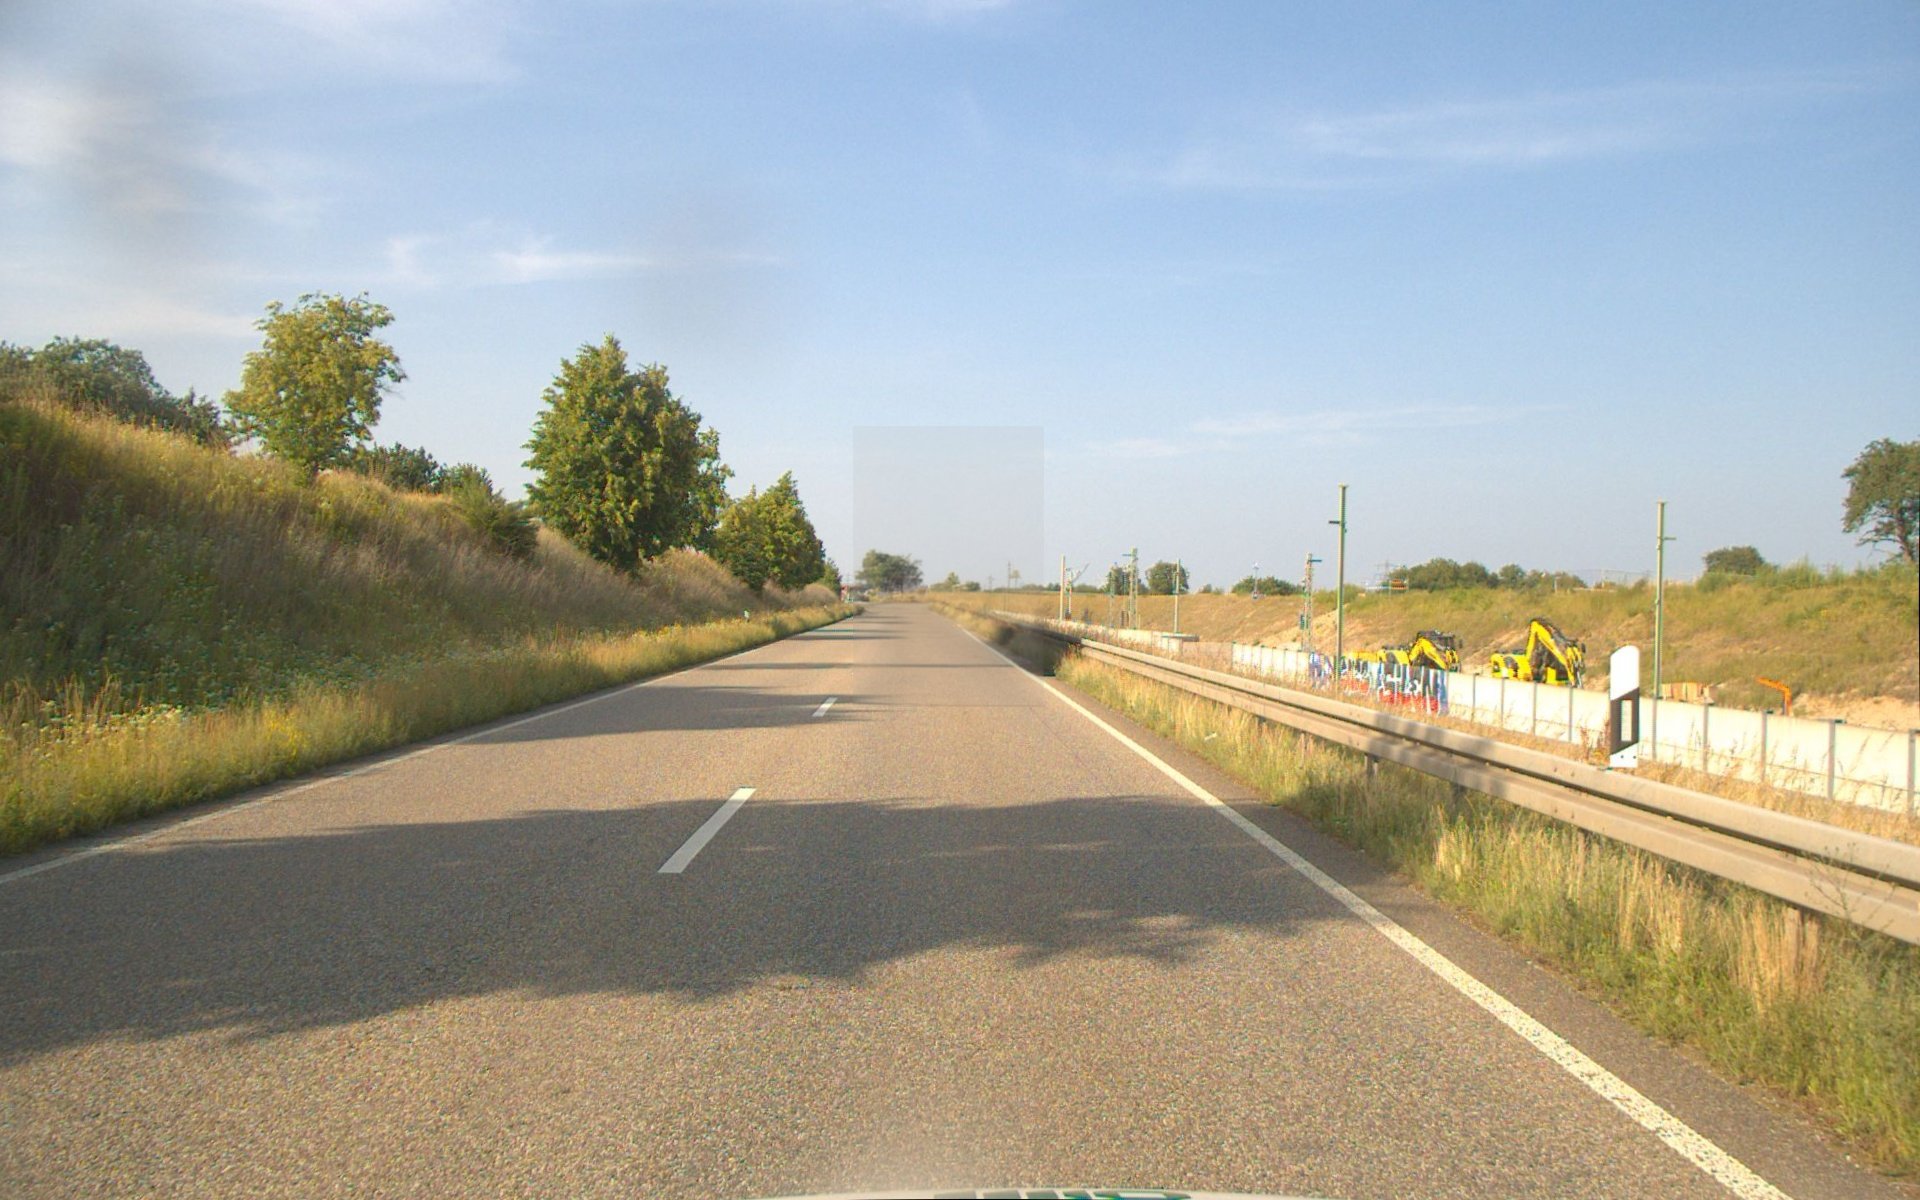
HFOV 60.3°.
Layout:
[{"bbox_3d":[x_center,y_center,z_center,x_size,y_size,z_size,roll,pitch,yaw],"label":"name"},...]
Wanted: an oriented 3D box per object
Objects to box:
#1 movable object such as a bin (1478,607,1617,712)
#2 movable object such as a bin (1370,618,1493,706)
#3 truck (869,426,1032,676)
[{"bbox_3d":[23.866,2.305,67.635,2.740,3.954,7.535,1,0,-2],"label":"movable object such as a bin"},{"bbox_3d":[19.443,2.469,68.718,2.569,3.296,8.070,1,0,-2],"label":"movable object such as a bin"},{"bbox_3d":[-0.228,-0.955,35.975,3.089,4.770,8.440,0,0,-1],"label":"truck"}]
